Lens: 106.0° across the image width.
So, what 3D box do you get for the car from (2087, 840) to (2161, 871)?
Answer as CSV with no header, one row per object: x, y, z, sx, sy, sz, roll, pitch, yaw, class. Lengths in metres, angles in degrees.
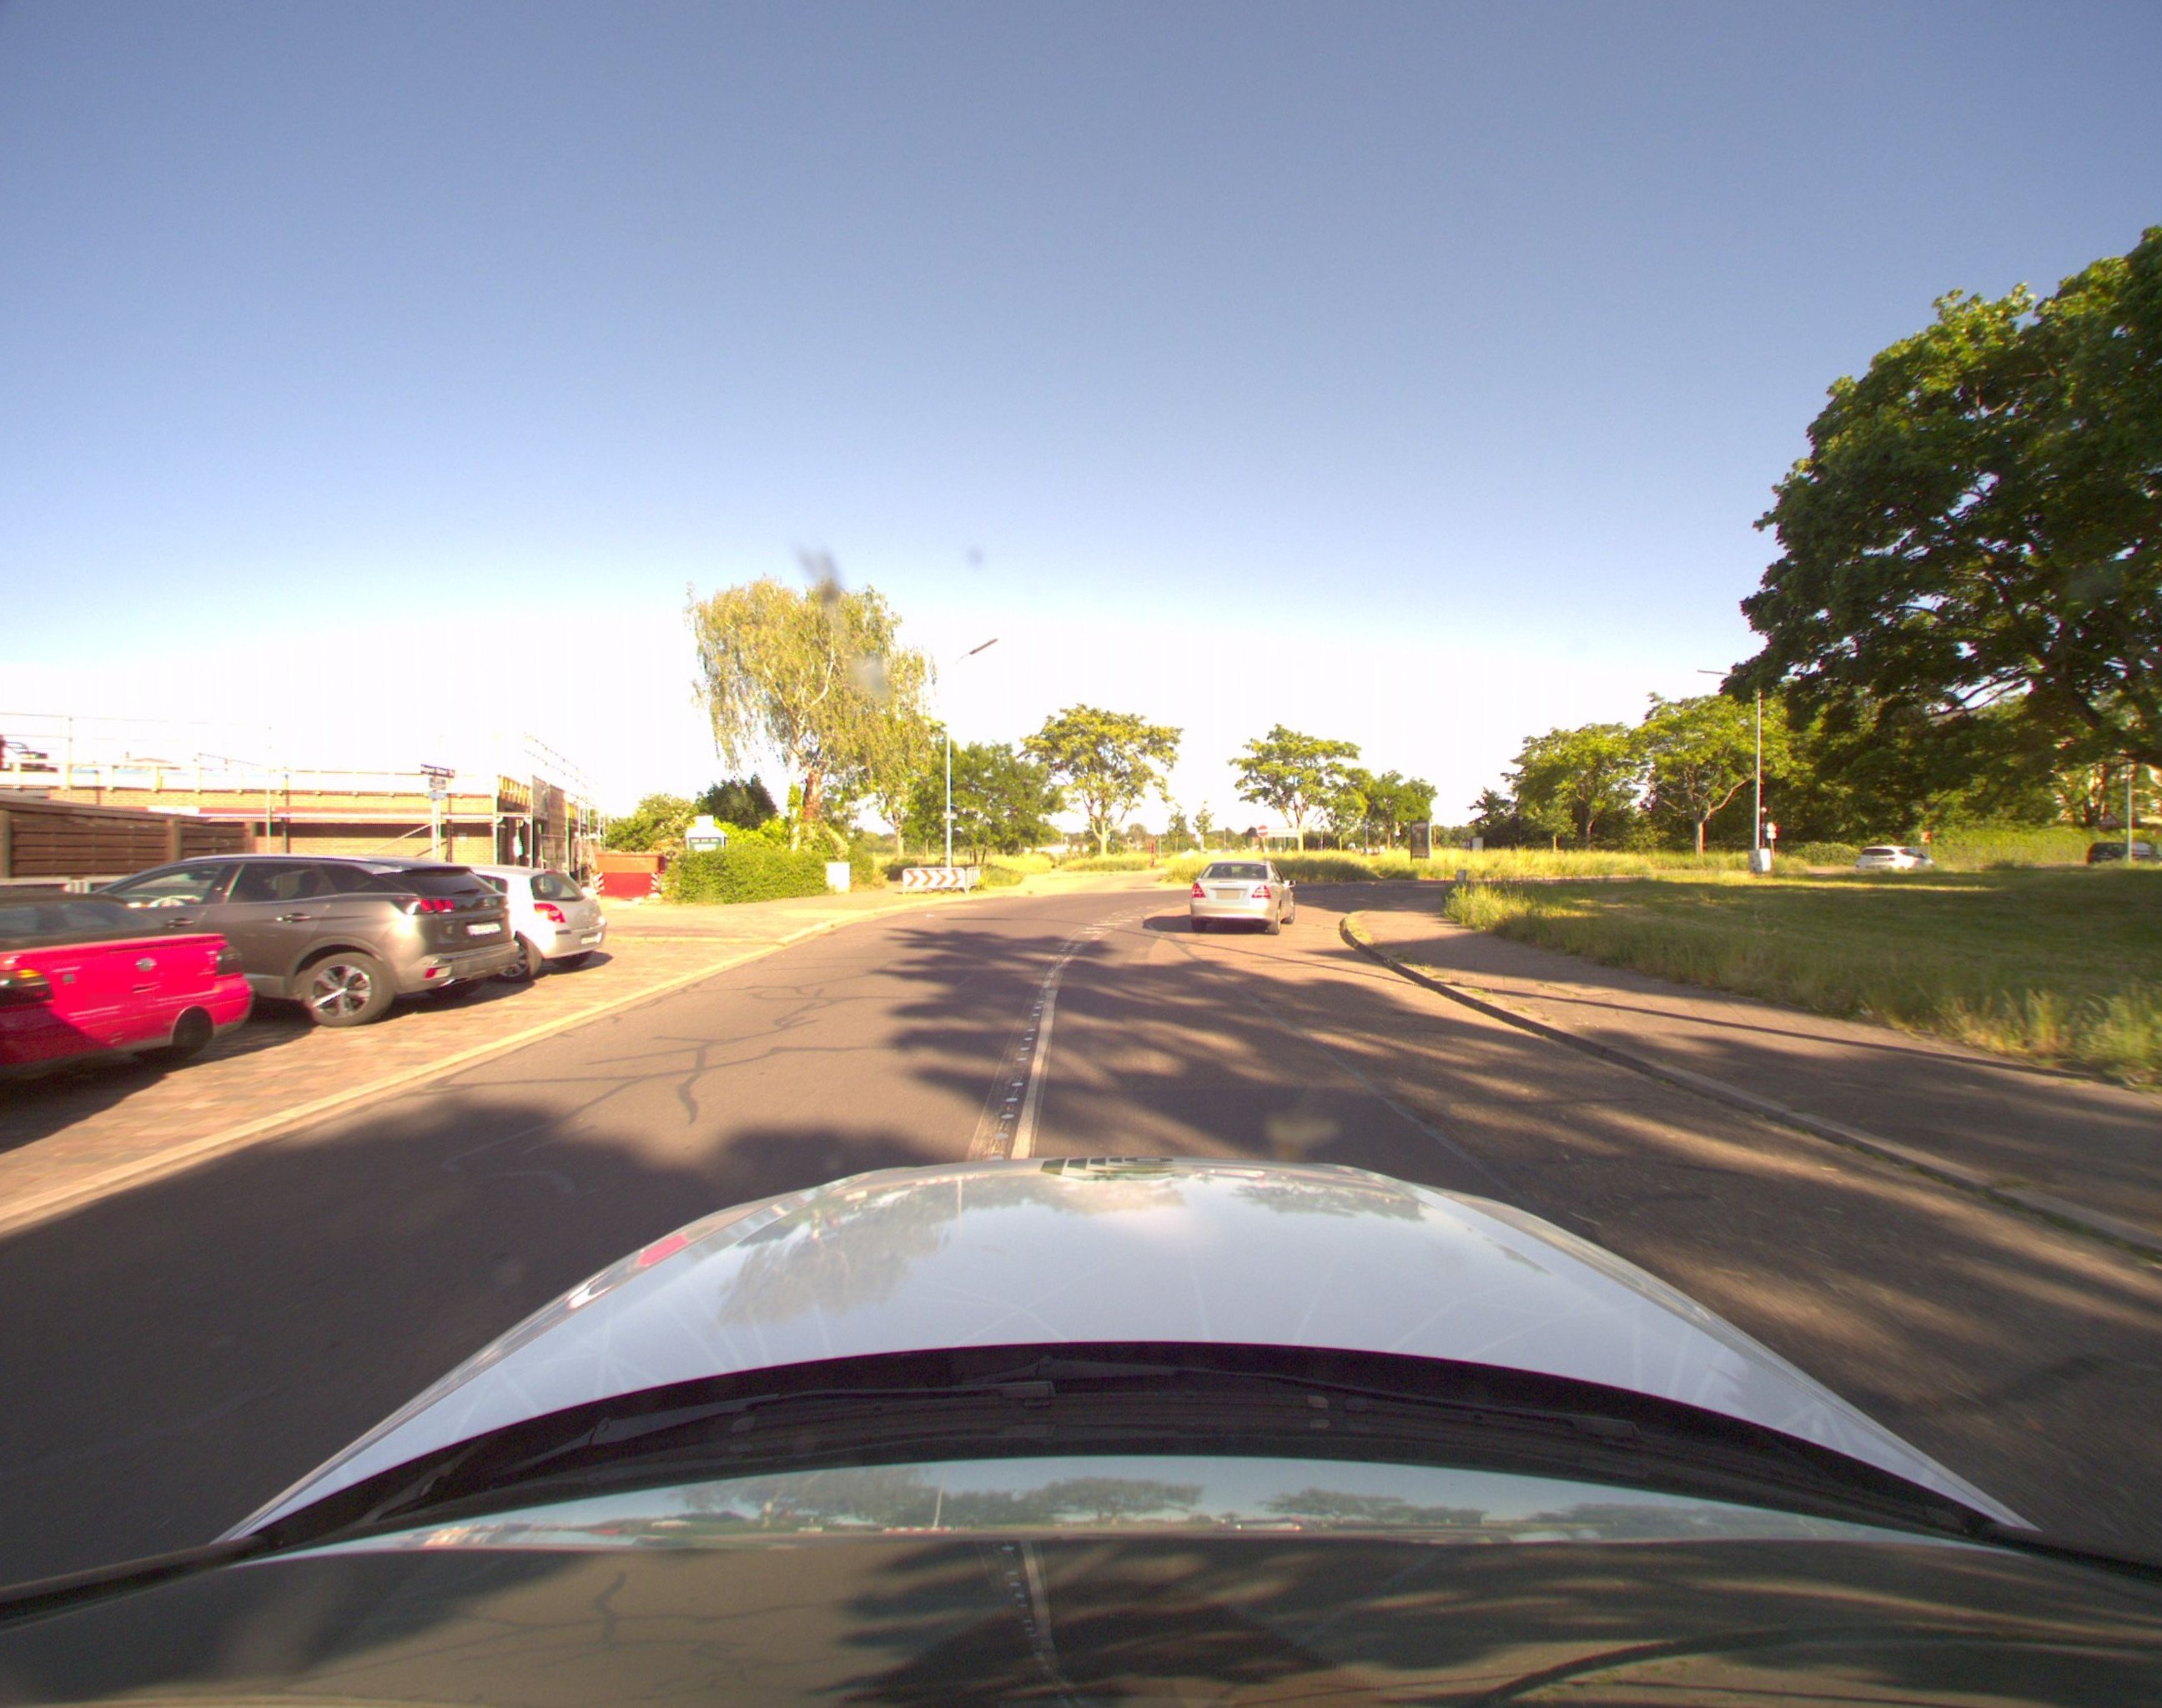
58.847,0.075,45.738,4.000,1.611,1.693,-1,-2,-20,car

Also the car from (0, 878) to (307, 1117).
-8.217,0.884,5.867,3.598,1.344,1.734,2,0,1,car

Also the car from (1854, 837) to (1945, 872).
39.669,0.035,39.480,3.742,1.479,1.715,-4,0,-21,car

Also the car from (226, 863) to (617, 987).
-8.503,0.868,10.828,3.684,1.459,1.630,0,0,-8,car

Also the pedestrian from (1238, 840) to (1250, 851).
14.061,-0.715,70.192,0.802,0.940,0.697,0,0,-27,pedestrian

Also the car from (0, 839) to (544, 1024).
-8.212,0.723,8.485,3.972,1.612,1.819,2,0,1,car

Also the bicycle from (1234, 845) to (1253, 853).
13.980,-0.430,70.142,1.580,0.704,0.648,0,0,-28,bicycle

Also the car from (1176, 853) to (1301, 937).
3.423,0.732,16.978,1.801,1.463,4.383,1,1,21,car

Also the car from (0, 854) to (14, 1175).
-7.228,0.751,3.263,3.598,1.607,1.734,2,0,1,car
